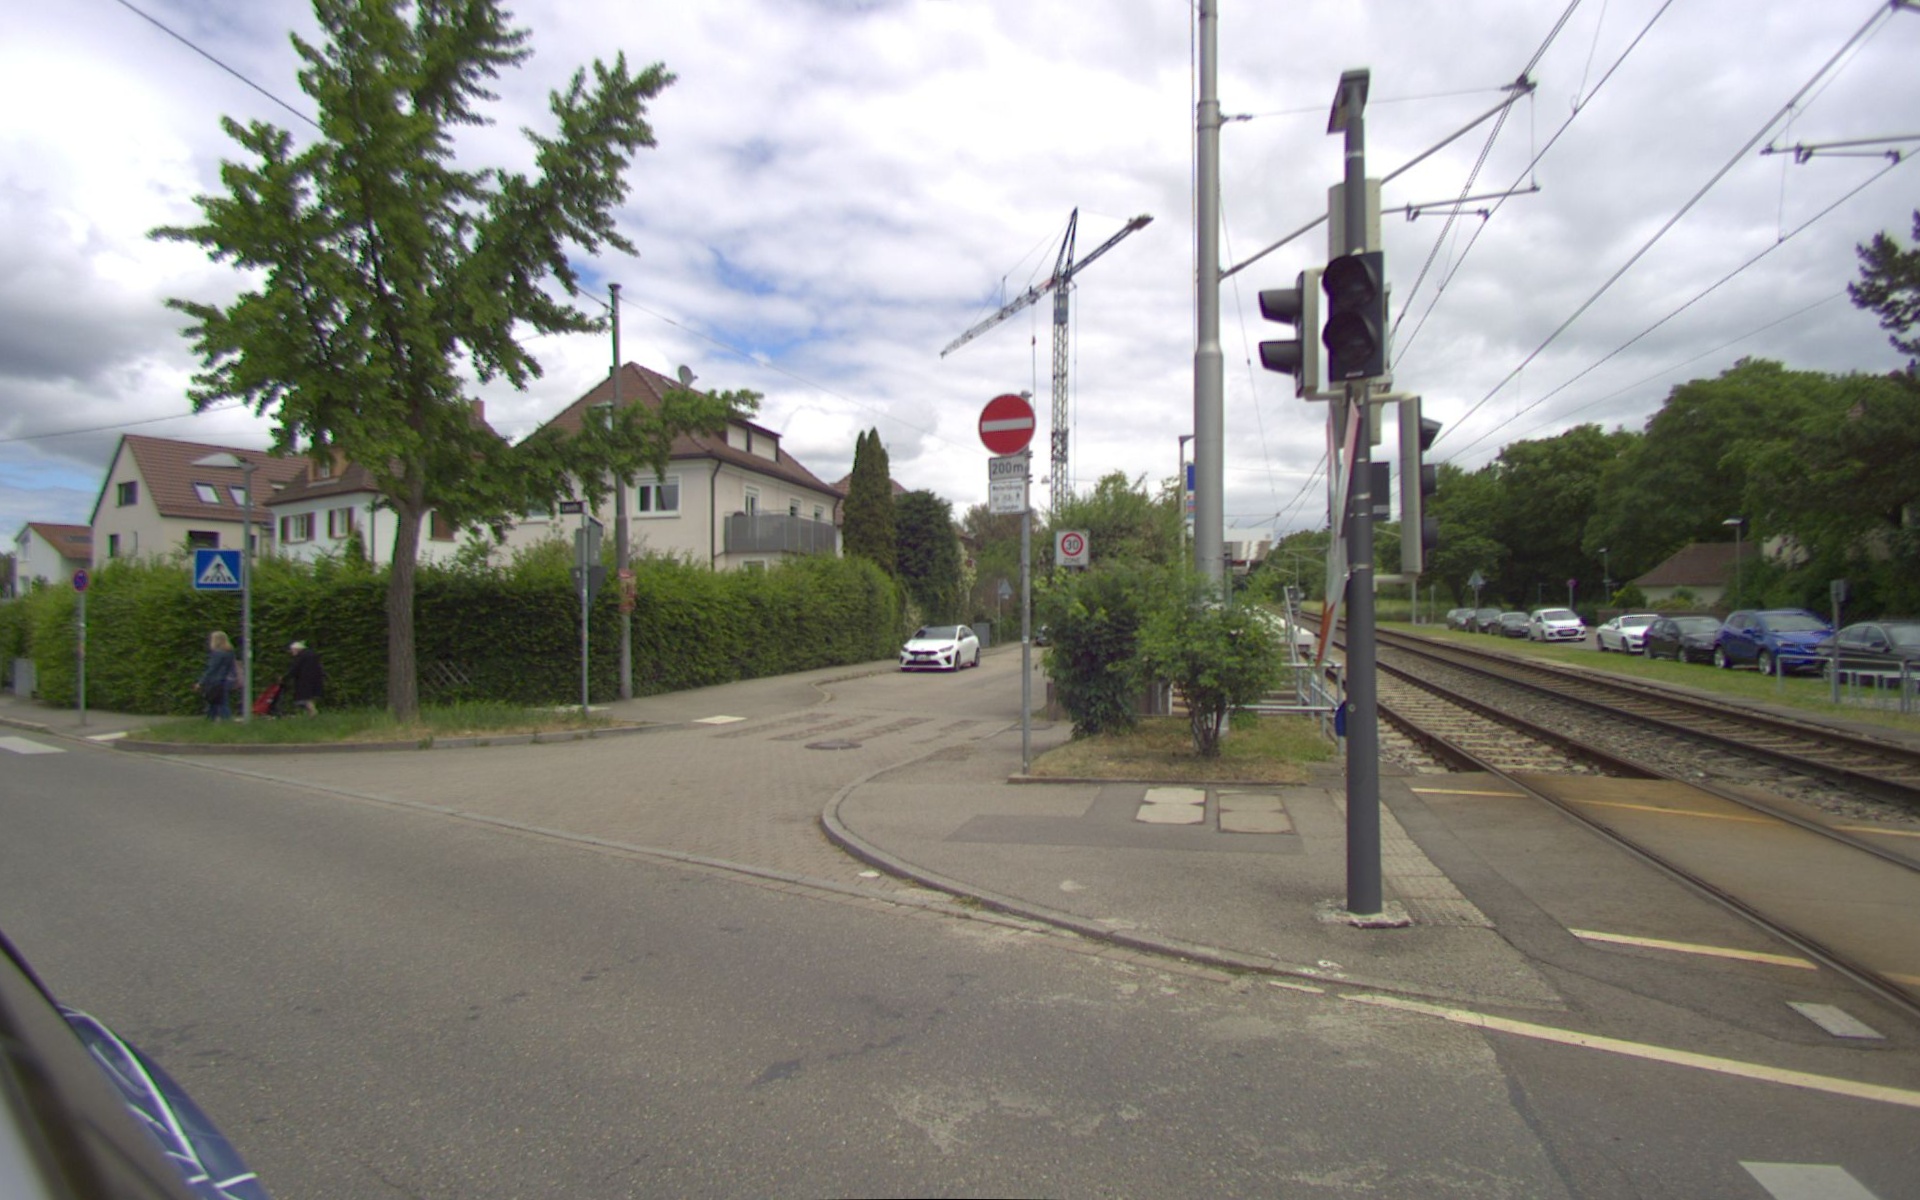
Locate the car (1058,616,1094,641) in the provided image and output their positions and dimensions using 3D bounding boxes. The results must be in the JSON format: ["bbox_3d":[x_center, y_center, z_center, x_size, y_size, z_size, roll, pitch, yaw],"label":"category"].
[{"bbox_3d":[7.300,1.773,63.686,1.754,1.453,3.767,-1,-1,14],"label":"car"}]

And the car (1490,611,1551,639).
[{"bbox_3d":[28.693,1.265,51.939,1.838,1.386,3.979,-1,-1,16],"label":"car"}]

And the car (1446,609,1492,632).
[{"bbox_3d":[31.821,1.287,63.374,1.838,1.386,3.979,-1,-1,16],"label":"car"}]

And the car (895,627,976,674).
[{"bbox_3d":[-0.701,1.542,31.763,1.763,1.322,3.758,0,-1,12],"label":"car"}]

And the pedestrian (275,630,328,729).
[{"bbox_3d":[-11.450,1.366,17.609,0.588,1.632,0.680,-2,0,-20],"label":"pedestrian"}]

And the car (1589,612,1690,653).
[{"bbox_3d":[24.512,1.164,36.665,1.838,1.386,3.979,-1,-1,16],"label":"car"}]

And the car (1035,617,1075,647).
[{"bbox_3d":[5.019,1.654,53.064,1.751,1.453,3.773,-1,-1,10],"label":"car"}]

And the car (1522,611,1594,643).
[{"bbox_3d":[27.729,1.239,47.053,1.838,1.386,3.979,-1,-1,16],"label":"car"}]

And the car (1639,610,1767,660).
[{"bbox_3d":[22.597,1.042,30.966,1.838,1.386,3.979,-1,-1,16],"label":"car"}]

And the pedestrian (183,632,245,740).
[{"bbox_3d":[-11.908,1.348,16.168,0.588,1.632,0.680,-2,0,-20],"label":"pedestrian"}]

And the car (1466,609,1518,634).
[{"bbox_3d":[30.562,1.221,58.245,1.838,1.386,3.979,-1,-1,16],"label":"car"}]

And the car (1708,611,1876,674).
[{"bbox_3d":[21.266,1.053,26.087,1.838,1.492,3.979,-1,-1,16],"label":"car"}]

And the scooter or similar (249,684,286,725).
[{"bbox_3d":[-11.902,1.791,17.399,0.393,0.614,0.490,-3,1,-20],"label":"scooter or similar"}]

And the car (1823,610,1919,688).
[{"bbox_3d":[19.713,0.953,20.398,1.805,1.513,4.101,-1,-1,14],"label":"car"}]
